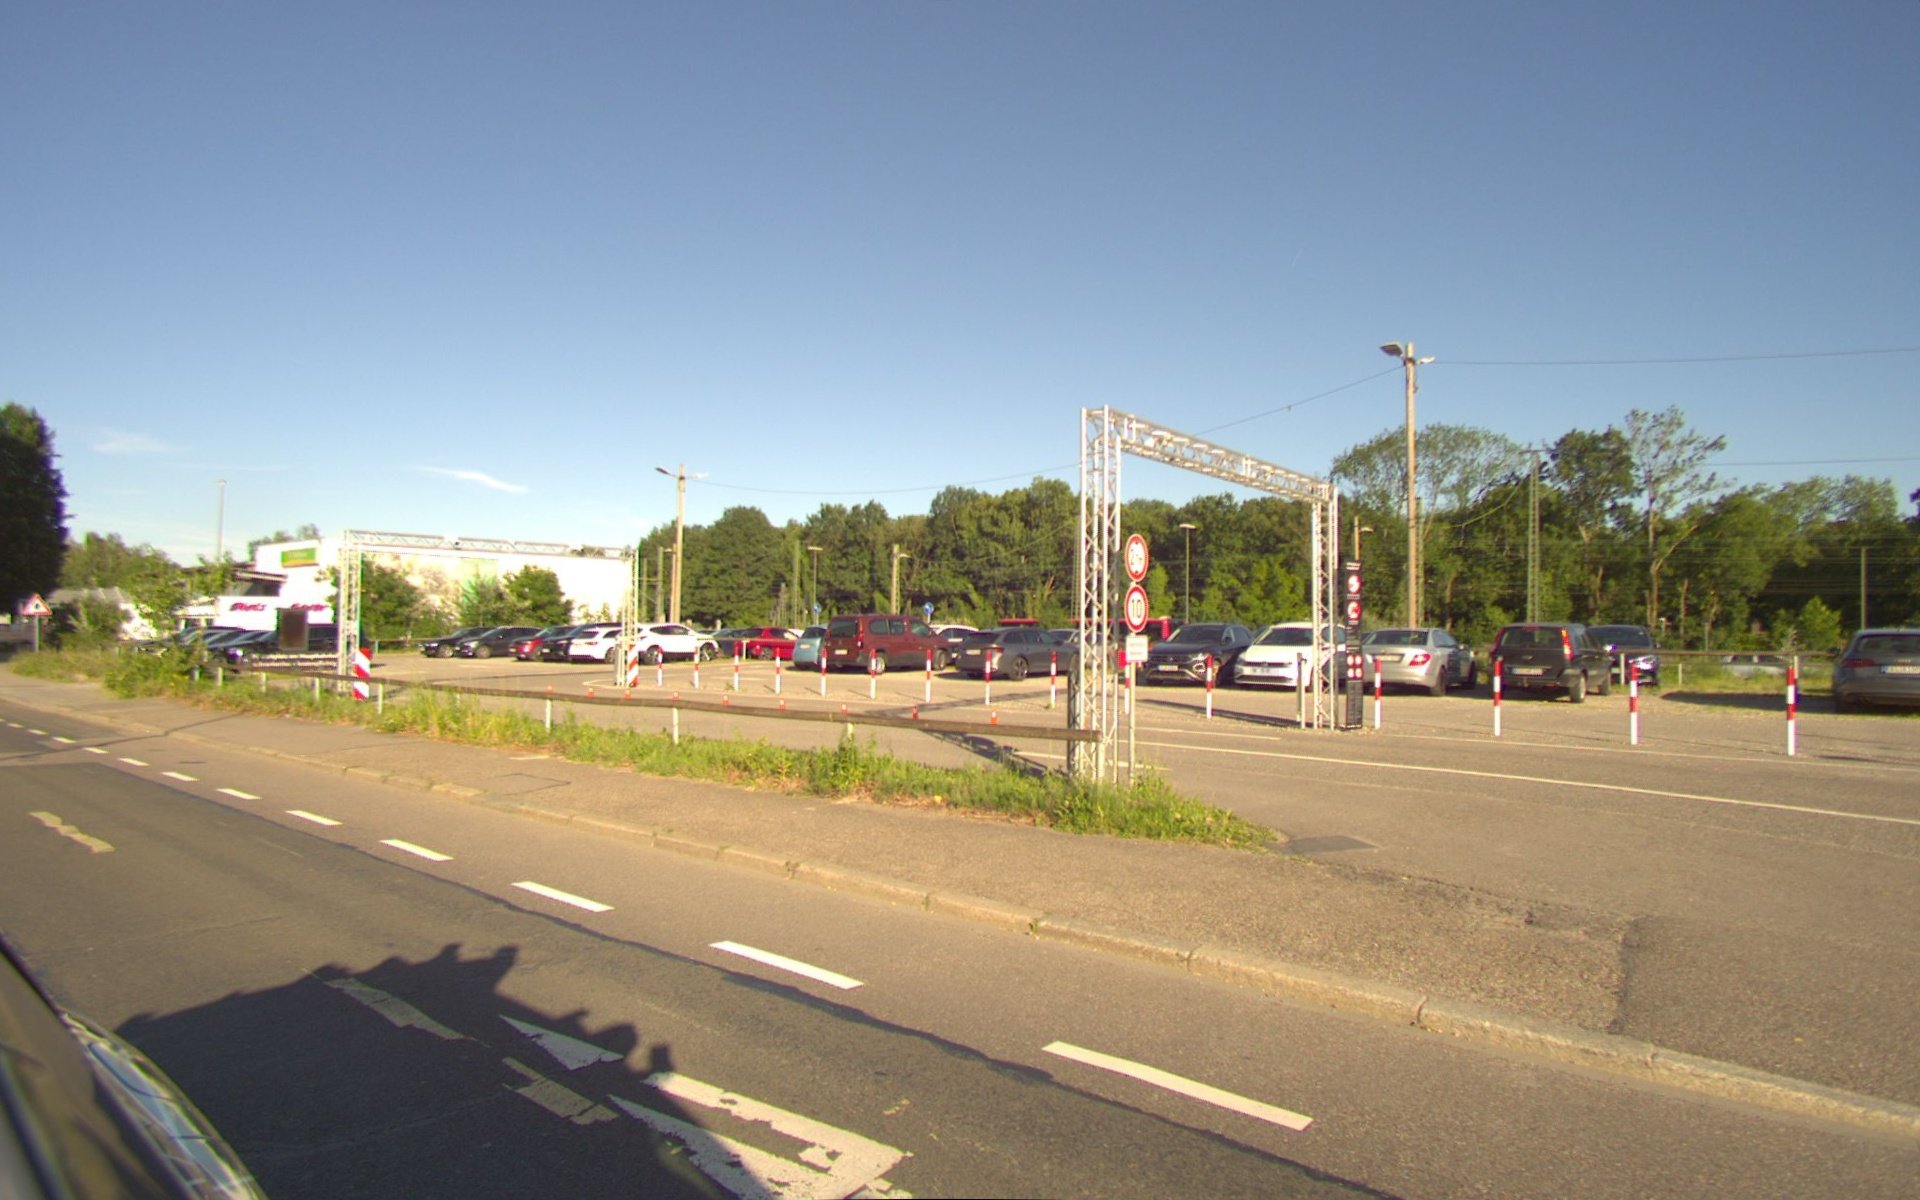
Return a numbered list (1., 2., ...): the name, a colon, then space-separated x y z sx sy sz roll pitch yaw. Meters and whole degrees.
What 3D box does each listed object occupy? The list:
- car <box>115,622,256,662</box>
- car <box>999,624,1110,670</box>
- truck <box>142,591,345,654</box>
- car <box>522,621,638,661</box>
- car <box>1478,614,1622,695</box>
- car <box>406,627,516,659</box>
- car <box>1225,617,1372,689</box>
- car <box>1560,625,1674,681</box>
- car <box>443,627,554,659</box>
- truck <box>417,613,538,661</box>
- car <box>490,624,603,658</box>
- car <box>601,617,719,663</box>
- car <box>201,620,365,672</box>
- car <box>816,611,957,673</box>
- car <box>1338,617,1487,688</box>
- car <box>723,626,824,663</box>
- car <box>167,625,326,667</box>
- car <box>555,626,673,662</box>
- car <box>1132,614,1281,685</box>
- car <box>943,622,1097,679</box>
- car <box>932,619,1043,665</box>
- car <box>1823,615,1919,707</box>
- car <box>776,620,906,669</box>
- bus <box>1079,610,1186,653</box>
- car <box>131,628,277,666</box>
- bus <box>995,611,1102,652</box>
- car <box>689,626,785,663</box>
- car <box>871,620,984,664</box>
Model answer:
1. car: -32.545 1.759 42.615 2.047 1.593 4.383 -1 -2 40
2. car: 3.235 1.543 34.081 1.892 1.477 3.949 -2 -2 38
3. truck: -44.575 1.381 63.397 2.772 3.642 10.002 0 -1 38
4. car: -15.853 1.682 42.376 2.044 1.590 4.124 -1 -2 35
5. car: 12.210 1.052 20.822 1.876 1.474 4.278 -2 -2 39
6. car: -24.289 2.066 49.409 2.044 1.476 4.364 -1 -2 35
7. car: 8.043 1.179 23.850 1.876 1.535 4.278 -2 -2 39
8. car: 15.674 1.209 24.075 1.876 1.197 3.844 -2 -2 39
9. car: -21.864 2.014 48.076 2.044 1.476 4.364 -1 -2 35
10. truck: -30.130 2.325 63.415 2.312 2.829 6.434 -1 -3 37
11. car: -18.095 1.769 44.438 2.044 1.408 4.124 -1 -2 35
12. car: -11.695 1.544 39.684 1.962 1.674 4.123 -1 -2 36
13. car: -23.626 1.573 35.448 2.047 1.683 4.383 -1 -2 40
14. car: -2.264 1.291 32.091 1.855 1.819 4.530 -2 -2 39
15. car: 9.943 1.082 22.069 1.876 1.404 4.278 -2 -2 39
16. car: -8.020 1.896 43.829 1.962 1.541 4.123 -1 -2 36
17. car: -26.093 1.653 37.118 2.047 1.473 4.383 -1 -2 40
18. car: -13.908 1.750 40.898 2.044 1.408 4.124 -1 -2 35
19. car: 6.266 1.185 25.384 1.855 1.597 4.530 -2 -2 39
20. car: 1.782 1.385 28.785 1.990 1.492 4.527 -2 -2 42
21. car: 1.014 1.441 35.516 1.934 1.519 3.949 -2 -2 37
22. car: 16.285 0.989 17.472 1.876 1.430 4.280 -2 -2 38
23. car: -3.956 1.458 34.256 1.855 1.557 4.323 -2 -2 39
24. bus: 9.823 1.818 58.015 5.585 2.366 2.513 -2 -3 41
25. car: -30.506 1.862 40.920 2.047 1.473 4.383 -1 -2 40
26. bus: 5.349 1.921 61.840 6.200 2.366 2.513 -2 -3 41
27. car: -9.920 1.965 45.203 1.910 1.561 3.951 -2 -2 36
28. car: -1.166 1.531 38.102 1.855 1.557 4.323 -2 -2 39
